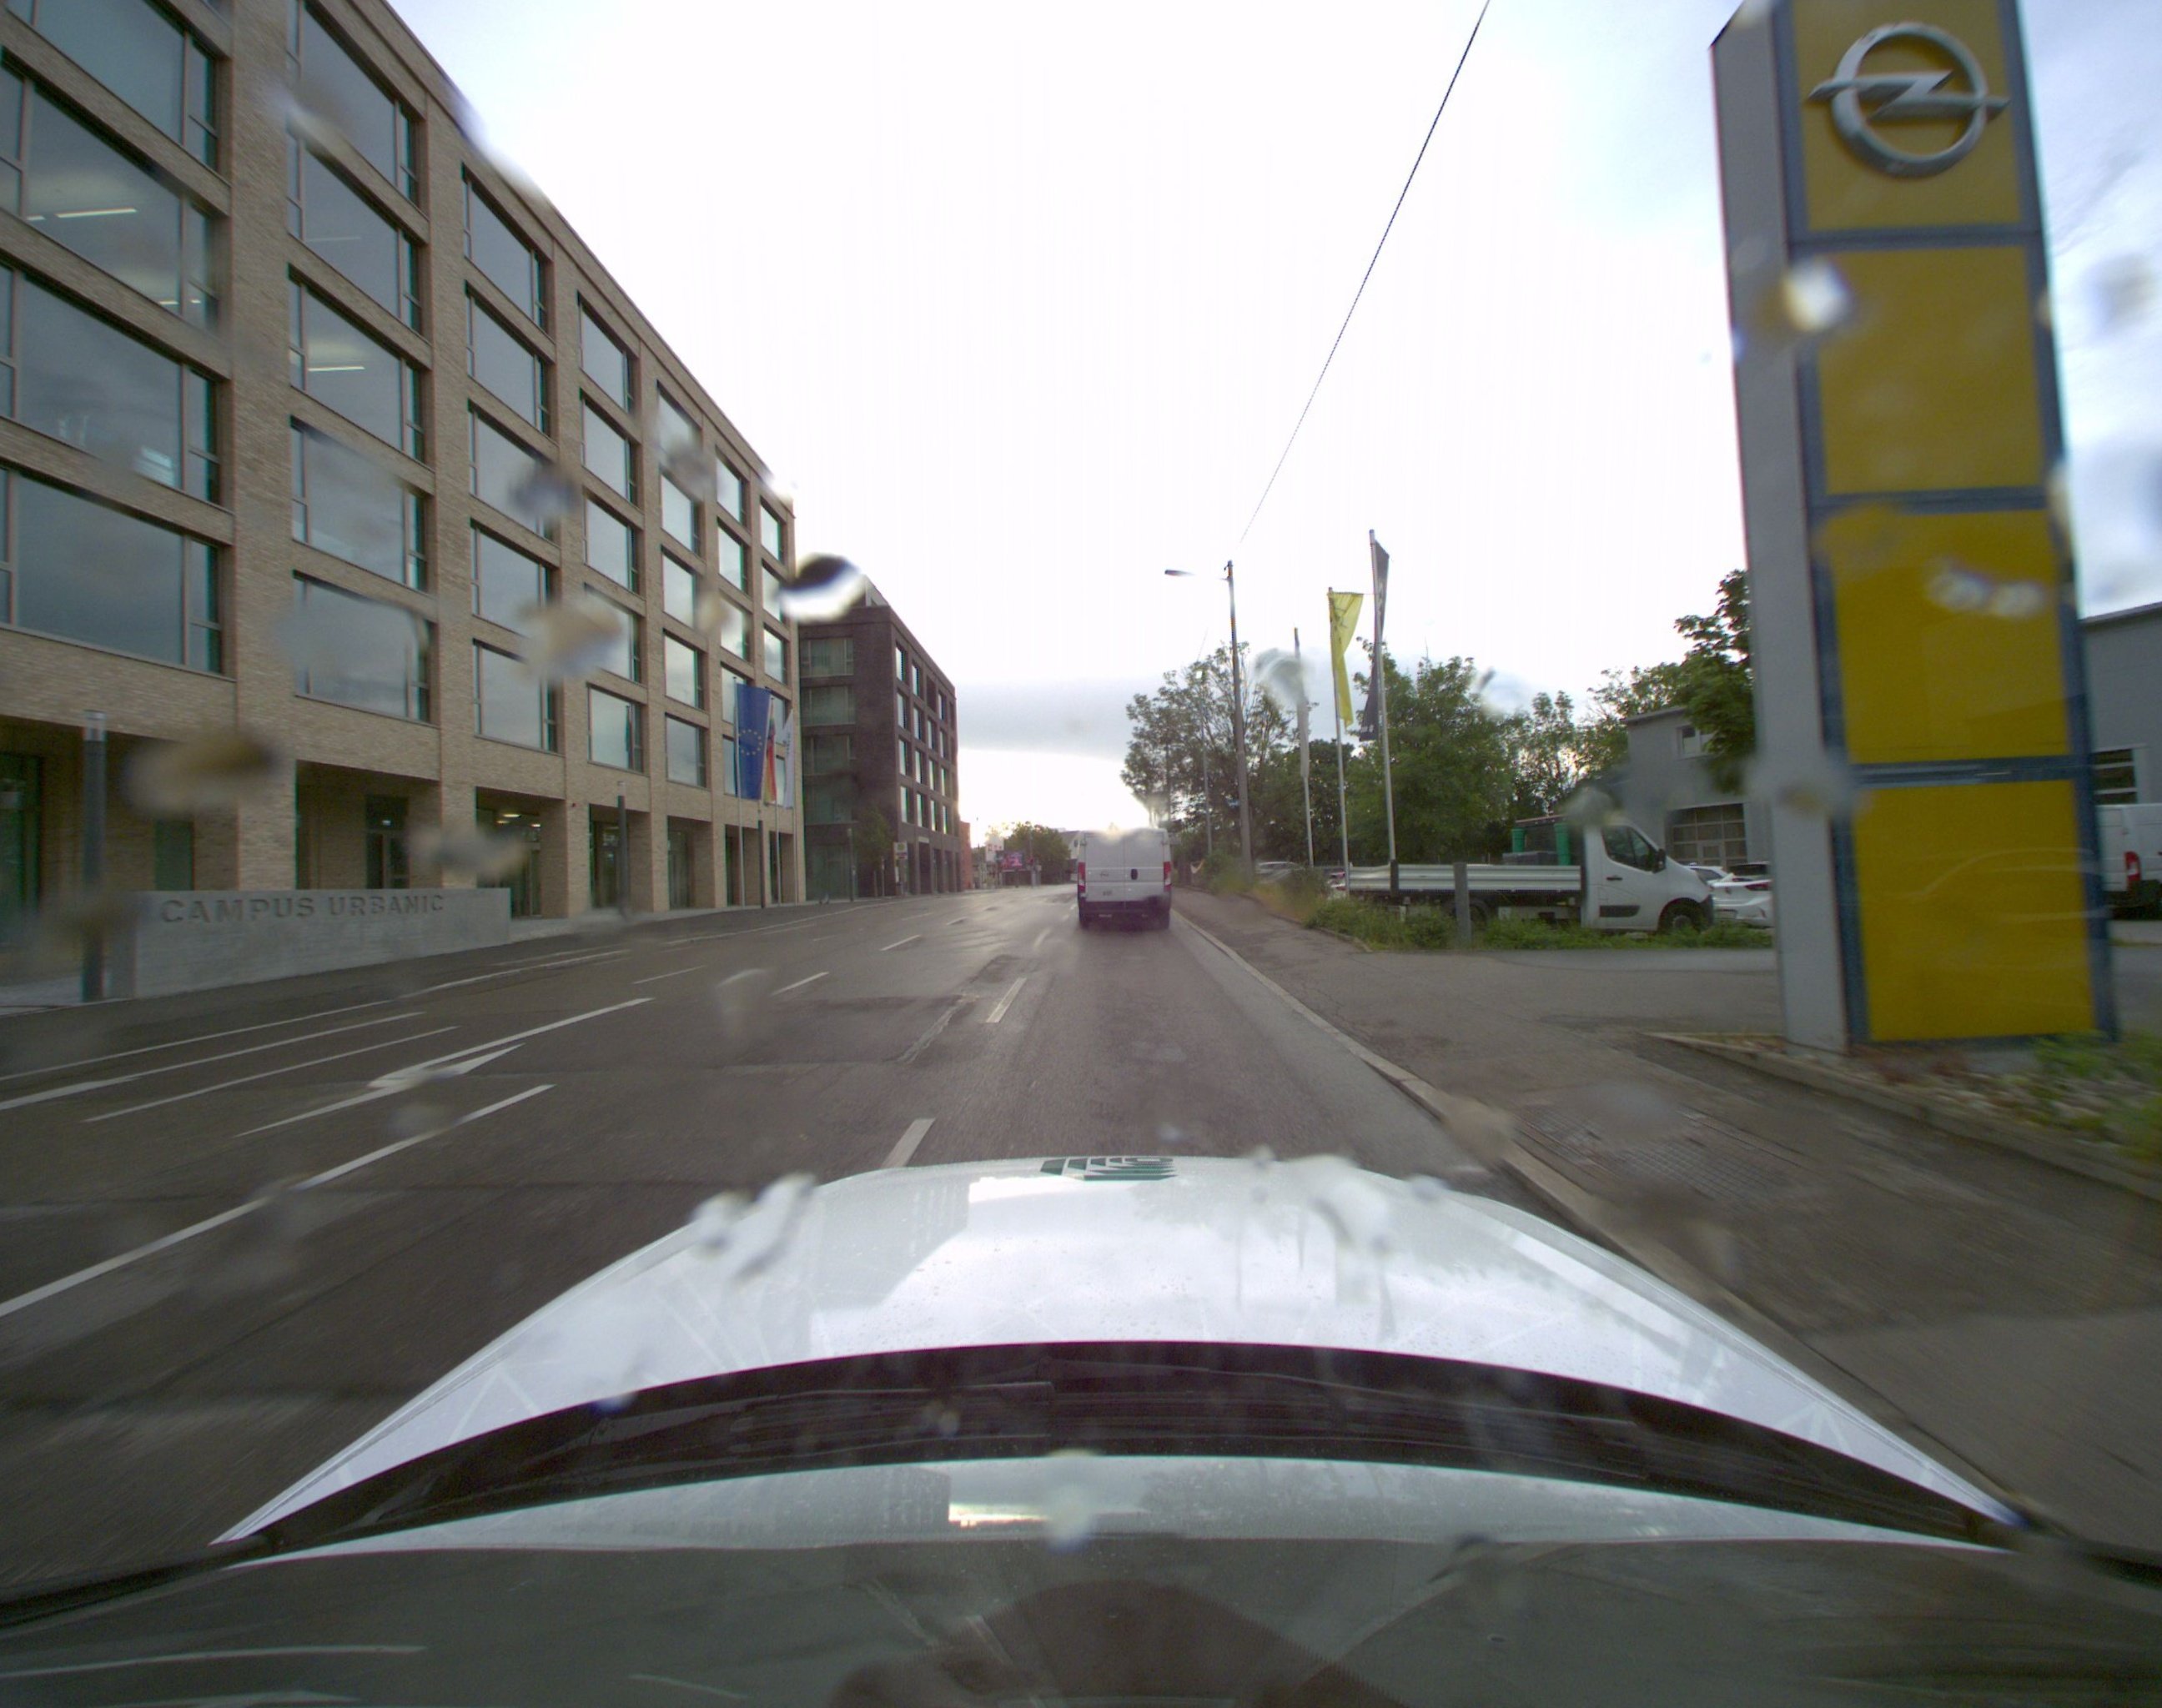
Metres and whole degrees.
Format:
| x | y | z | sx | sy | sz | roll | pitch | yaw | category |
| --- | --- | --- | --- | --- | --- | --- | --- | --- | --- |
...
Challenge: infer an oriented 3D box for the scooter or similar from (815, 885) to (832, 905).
| x | y | z | sx | sy | sz | roll | pitch | yaw | category |
| --- | --- | --- | --- | --- | --- | --- | --- | --- | --- |
| -13.753 | 2.181 | 43.541 | 0.349 | 1.072 | 1.429 | -2 | -2 | 3 | scooter or similar |

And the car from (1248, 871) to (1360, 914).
| x | y | z | sx | sy | sz | roll | pitch | yaw | category |
| --- | --- | --- | --- | --- | --- | --- | --- | --- | --- |
| 8.812 | 1.525 | 32.437 | 3.972 | 1.522 | 1.804 | -2 | -1 | 1 | car |

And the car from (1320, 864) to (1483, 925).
| x | y | z | sx | sy | sz | roll | pitch | yaw | category |
| --- | --- | --- | --- | --- | --- | --- | --- | --- | --- |
| 8.691 | 1.079 | 22.351 | 3.748 | 1.494 | 1.812 | -2 | -1 | 3 | car |

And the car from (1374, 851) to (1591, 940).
| x | y | z | sx | sy | sz | roll | pitch | yaw | category |
| --- | --- | --- | --- | --- | --- | --- | --- | --- | --- |
| 8.345 | 0.833 | 17.138 | 3.681 | 1.671 | 1.735 | -2 | -1 | -2 | car |

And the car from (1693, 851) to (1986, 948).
| x | y | z | sx | sy | sz | roll | pitch | yaw | category |
| --- | --- | --- | --- | --- | --- | --- | --- | --- | --- |
| 13.315 | 0.771 | 14.459 | 3.676 | 1.519 | 1.558 | -2 | -1 | 2 | car |

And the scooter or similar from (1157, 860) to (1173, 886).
| x | y | z | sx | sy | sz | roll | pitch | yaw | category |
| --- | --- | --- | --- | --- | --- | --- | --- | --- | --- |
| 5.233 | 1.167 | 50.839 | 0.436 | 1.587 | 1.264 | -1 | 0 | -20 | scooter or similar |

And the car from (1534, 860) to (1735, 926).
| x | y | z | sx | sy | sz | roll | pitch | yaw | category |
| --- | --- | --- | --- | --- | --- | --- | --- | --- | --- |
| 13.266 | 0.914 | 19.701 | 3.674 | 1.418 | 1.632 | -2 | -1 | 4 | car |

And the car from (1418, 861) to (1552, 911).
| x | y | z | sx | sy | sz | roll | pitch | yaw | category |
| --- | --- | --- | --- | --- | --- | --- | --- | --- | --- |
| 13.480 | 1.052 | 27.318 | 3.676 | 1.519 | 1.558 | -2 | -1 | 2 | car |

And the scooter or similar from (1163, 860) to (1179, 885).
| x | y | z | sx | sy | sz | roll | pitch | yaw | category |
| --- | --- | --- | --- | --- | --- | --- | --- | --- | --- |
| 5.655 | 1.167 | 51.006 | 0.436 | 1.564 | 1.264 | -1 | 0 | -20 | scooter or similar |

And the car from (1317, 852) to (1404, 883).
| x | y | z | sx | sy | sz | roll | pitch | yaw | category |
| --- | --- | --- | --- | --- | --- | --- | --- | --- | --- |
| 14.792 | 0.702 | 43.179 | 3.978 | 1.522 | 1.801 | -2 | -1 | -4 | car |

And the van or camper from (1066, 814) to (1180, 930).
| x | y | z | sx | sy | sz | roll | pitch | yaw | category |
| --- | --- | --- | --- | --- | --- | --- | --- | --- | --- |
| 1.001 | 0.382 | 19.644 | 2.330 | 2.357 | 5.203 | -2 | 0 | 3 | van or camper |

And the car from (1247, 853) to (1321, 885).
| x | y | z | sx | sy | sz | roll | pitch | yaw | category |
| --- | --- | --- | --- | --- | --- | --- | --- | --- | --- |
| 12.517 | 0.910 | 50.327 | 3.979 | 1.521 | 1.801 | -6 | -1 | -4 | car |

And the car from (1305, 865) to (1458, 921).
| x | y | z | sx | sy | sz | roll | pitch | yaw | category |
| --- | --- | --- | --- | --- | --- | --- | --- | --- | --- |
| 9.024 | 1.162 | 24.668 | 3.972 | 1.508 | 1.761 | -2 | 0 | 1 | car |

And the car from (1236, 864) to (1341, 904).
| x | y | z | sx | sy | sz | roll | pitch | yaw | category |
| --- | --- | --- | --- | --- | --- | --- | --- | --- | --- |
| 8.837 | 1.268 | 34.855 | 3.978 | 1.522 | 1.801 | -2 | -1 | -4 | car |

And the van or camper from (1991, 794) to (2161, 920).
| x | y | z | sx | sy | sz | roll | pitch | yaw | category |
| --- | --- | --- | --- | --- | --- | --- | --- | --- | --- |
| 24.046 | -0.045 | 18.582 | 5.280 | 2.489 | 2.275 | -4 | 0 | -16 | van or camper |

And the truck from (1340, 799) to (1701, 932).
| x | y | z | sx | sy | sz | roll | pitch | yaw | category |
| --- | --- | --- | --- | --- | --- | --- | --- | --- | --- |
| 7.544 | 0.181 | 14.435 | 5.132 | 2.013 | 2.344 | -2 | 0 | -1 | truck |

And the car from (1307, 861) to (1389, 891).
| x | y | z | sx | sy | sz | roll | pitch | yaw | category |
| --- | --- | --- | --- | --- | --- | --- | --- | --- | --- |
| 14.961 | 1.216 | 45.781 | 3.978 | 1.522 | 1.801 | -2 | -1 | -4 | car |

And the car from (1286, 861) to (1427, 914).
| x | y | z | sx | sy | sz | roll | pitch | yaw | category |
| --- | --- | --- | --- | --- | --- | --- | --- | --- | --- |
| 9.152 | 1.105 | 27.261 | 4.113 | 1.589 | 1.761 | -2 | 0 | 2 | car |
